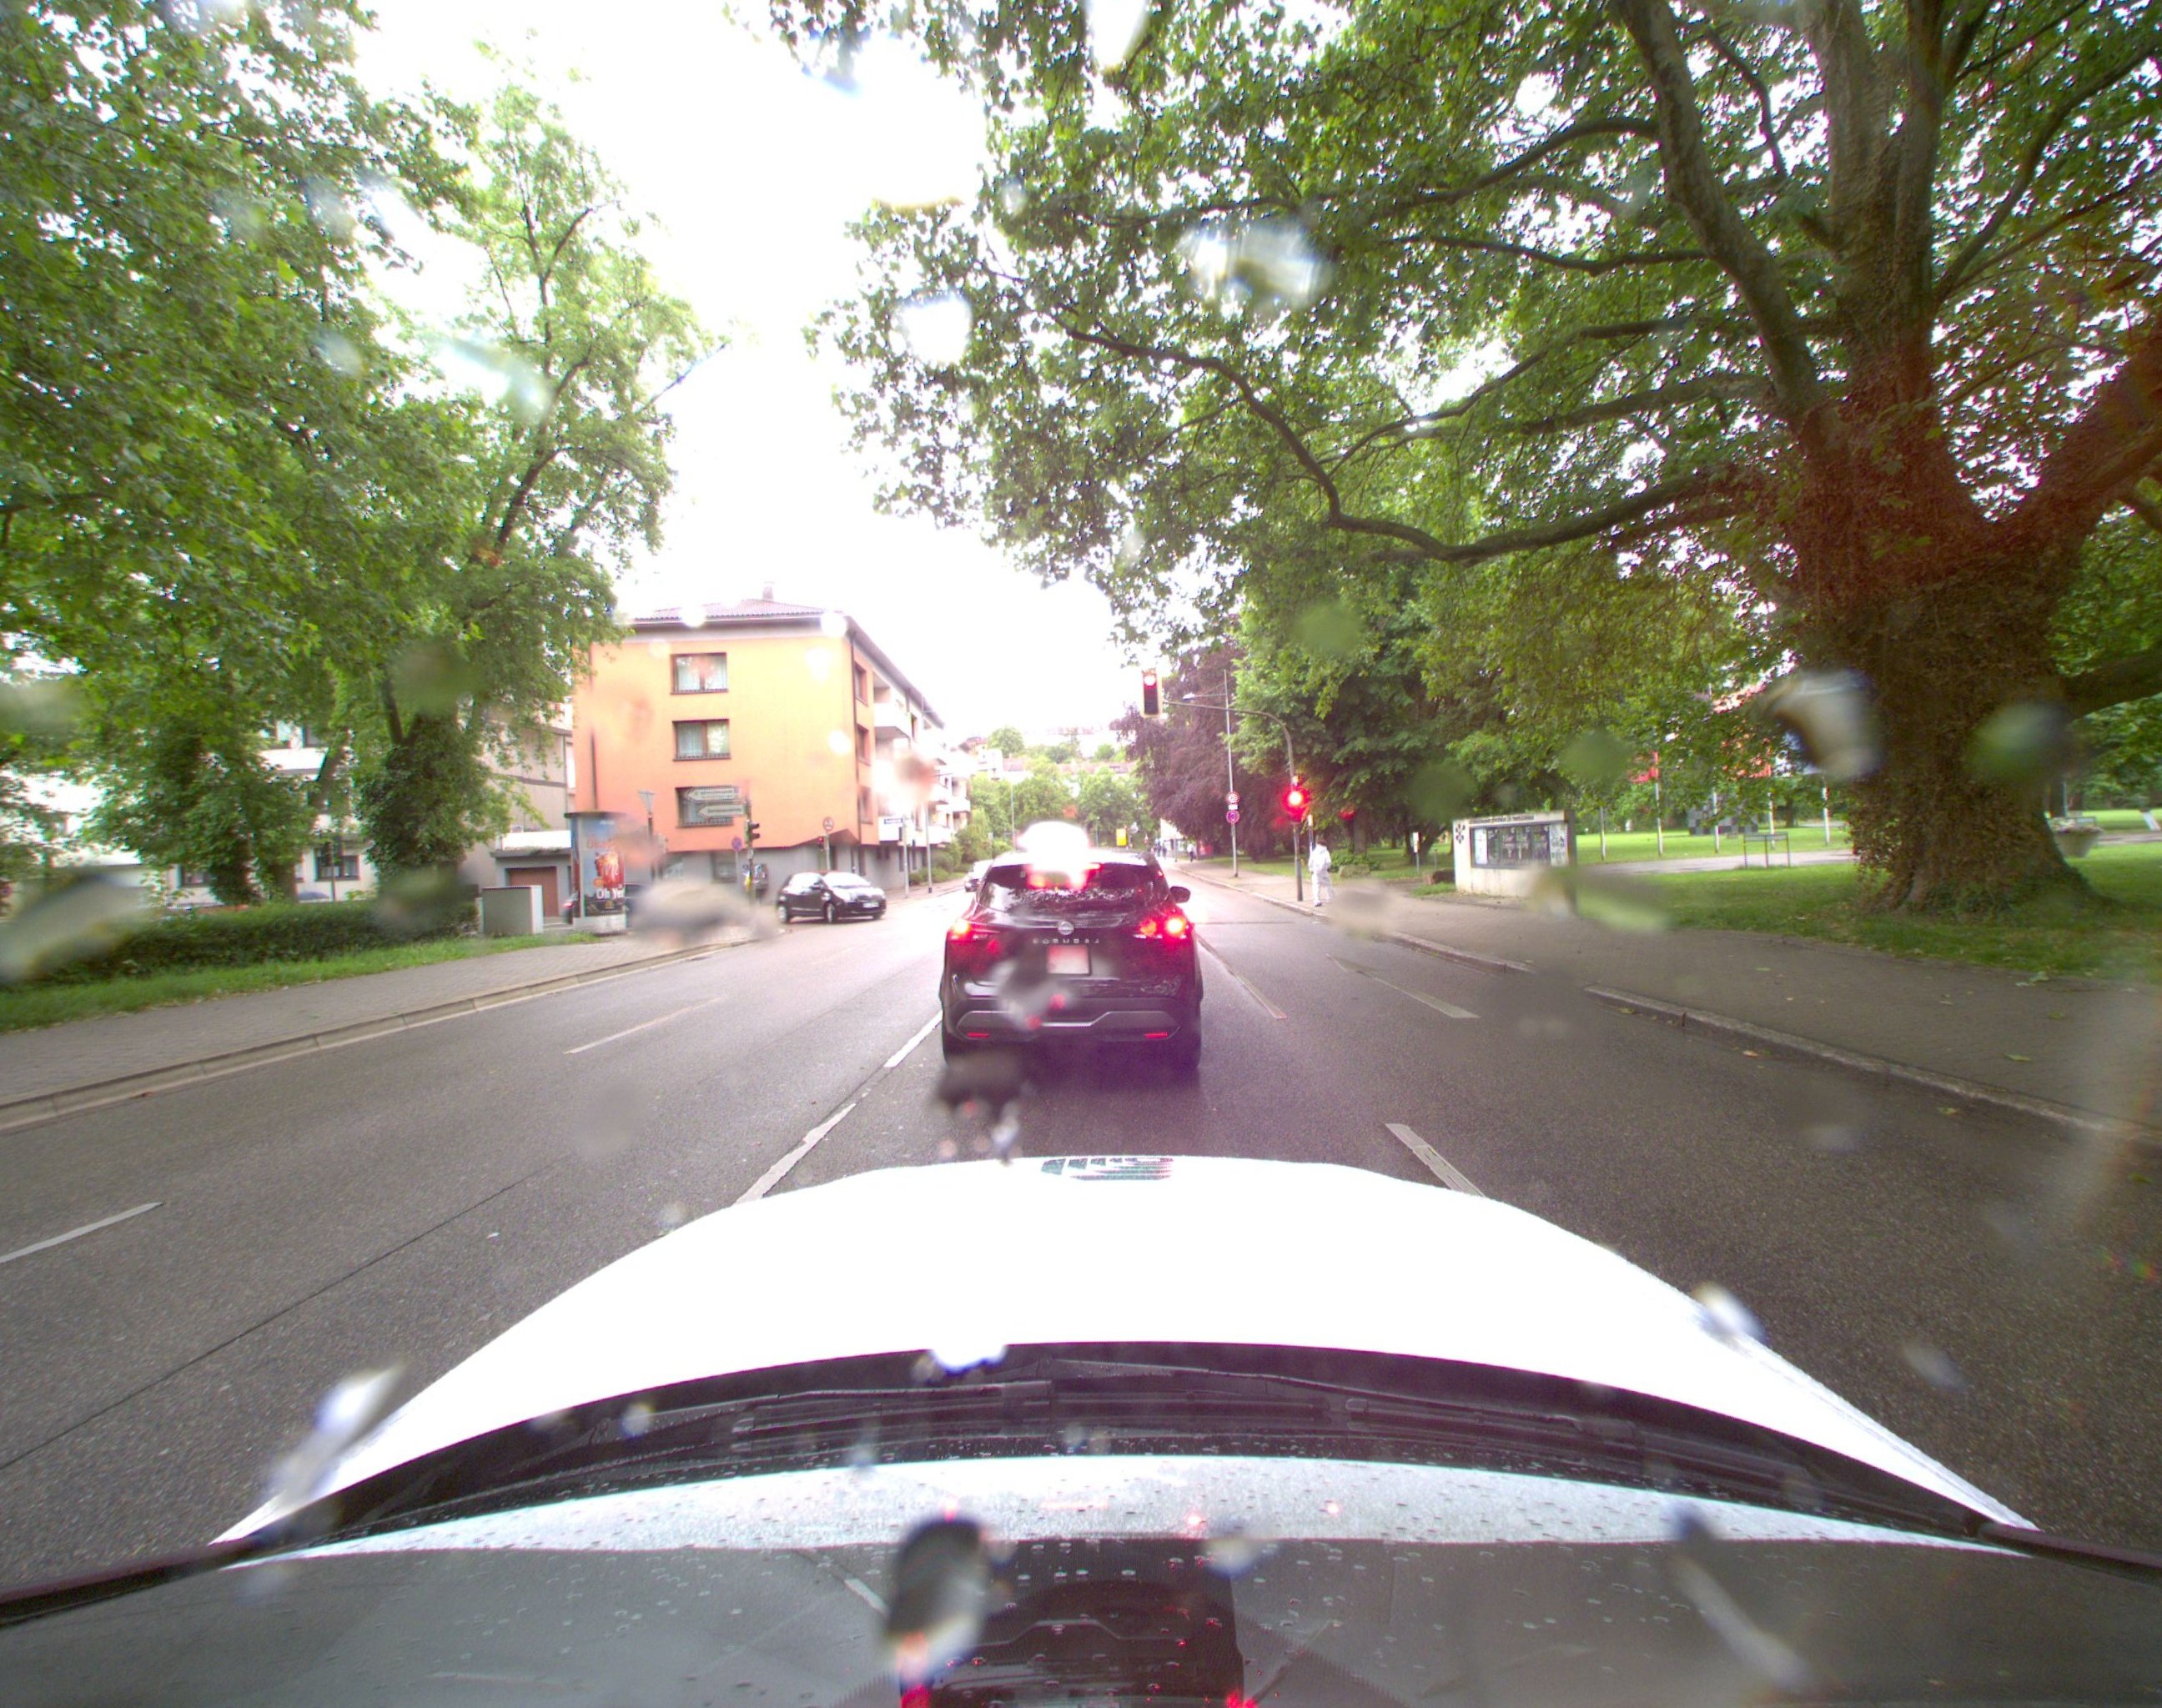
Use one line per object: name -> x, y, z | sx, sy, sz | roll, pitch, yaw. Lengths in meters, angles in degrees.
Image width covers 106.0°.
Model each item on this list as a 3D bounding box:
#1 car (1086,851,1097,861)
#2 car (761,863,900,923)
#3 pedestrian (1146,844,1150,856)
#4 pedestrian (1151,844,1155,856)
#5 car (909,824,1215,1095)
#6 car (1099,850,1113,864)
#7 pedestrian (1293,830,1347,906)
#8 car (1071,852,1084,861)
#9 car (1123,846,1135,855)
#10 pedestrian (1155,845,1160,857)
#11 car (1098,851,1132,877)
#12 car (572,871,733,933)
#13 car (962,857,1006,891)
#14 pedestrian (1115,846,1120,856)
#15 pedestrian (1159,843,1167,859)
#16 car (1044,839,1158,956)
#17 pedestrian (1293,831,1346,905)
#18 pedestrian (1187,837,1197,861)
car -> 1.745, 0.307, 137.732 | 1.628, 1.532, 3.969 | -3, 0, 2
car -> -7.301, 1.152, 23.640 | 3.817, 1.533, 1.813 | -4, 0, 35
pedestrian -> 9.739, -0.603, 118.270 | 0.506, 1.802, 0.620 | -3, 0, 1
pedestrian -> 10.466, -0.561, 118.248 | 0.505, 1.802, 0.660 | -3, 0, 8
car -> -0.055, 0.661, 7.146 | 1.906, 1.680, 4.002 | -1, 0, 2
car -> 3.041, 0.327, 98.769 | 1.628, 1.532, 3.969 | -3, 0, 2
pedestrian -> 6.195, 0.360, 21.132 | 1.035, 1.876, 0.656 | -4, 0, -9
car -> -0.611, 0.382, 147.372 | 1.963, 1.532, 3.969 | -3, 0, 2
car -> 9.106, -0.642, 155.130 | 1.983, 1.735, 4.007 | 0, 0, 7
pedestrian -> 11.119, -0.424, 118.197 | 0.507, 1.802, 0.619 | -3, 0, 0
car -> 2.054, 0.585, 50.644 | 1.820, 1.403, 4.649 | -4, 0, 0
car -> -14.083, 1.556, 26.986 | 4.295, 1.678, 1.724 | -3, 0, -7
car -> -4.858, 0.956, 41.114 | 1.791, 1.533, 3.865 | -3, 0, -2
pedestrian -> 6.041, -0.553, 135.227 | 0.503, 1.673, 0.663 | -3, 0, 29
pedestrian -> 9.342, -0.332, 93.046 | 0.503, 1.802, 0.623 | -3, 0, 41
car -> 0.379, 0.673, 14.610 | 1.692, 1.745, 3.642 | -3, 0, 2
pedestrian -> 6.400, 0.363, 21.880 | 1.035, 1.876, 0.656 | -4, 0, -9
pedestrian -> 9.711, -0.430, 71.381 | 0.722, 2.013, 0.852 | -3, 0, 2
